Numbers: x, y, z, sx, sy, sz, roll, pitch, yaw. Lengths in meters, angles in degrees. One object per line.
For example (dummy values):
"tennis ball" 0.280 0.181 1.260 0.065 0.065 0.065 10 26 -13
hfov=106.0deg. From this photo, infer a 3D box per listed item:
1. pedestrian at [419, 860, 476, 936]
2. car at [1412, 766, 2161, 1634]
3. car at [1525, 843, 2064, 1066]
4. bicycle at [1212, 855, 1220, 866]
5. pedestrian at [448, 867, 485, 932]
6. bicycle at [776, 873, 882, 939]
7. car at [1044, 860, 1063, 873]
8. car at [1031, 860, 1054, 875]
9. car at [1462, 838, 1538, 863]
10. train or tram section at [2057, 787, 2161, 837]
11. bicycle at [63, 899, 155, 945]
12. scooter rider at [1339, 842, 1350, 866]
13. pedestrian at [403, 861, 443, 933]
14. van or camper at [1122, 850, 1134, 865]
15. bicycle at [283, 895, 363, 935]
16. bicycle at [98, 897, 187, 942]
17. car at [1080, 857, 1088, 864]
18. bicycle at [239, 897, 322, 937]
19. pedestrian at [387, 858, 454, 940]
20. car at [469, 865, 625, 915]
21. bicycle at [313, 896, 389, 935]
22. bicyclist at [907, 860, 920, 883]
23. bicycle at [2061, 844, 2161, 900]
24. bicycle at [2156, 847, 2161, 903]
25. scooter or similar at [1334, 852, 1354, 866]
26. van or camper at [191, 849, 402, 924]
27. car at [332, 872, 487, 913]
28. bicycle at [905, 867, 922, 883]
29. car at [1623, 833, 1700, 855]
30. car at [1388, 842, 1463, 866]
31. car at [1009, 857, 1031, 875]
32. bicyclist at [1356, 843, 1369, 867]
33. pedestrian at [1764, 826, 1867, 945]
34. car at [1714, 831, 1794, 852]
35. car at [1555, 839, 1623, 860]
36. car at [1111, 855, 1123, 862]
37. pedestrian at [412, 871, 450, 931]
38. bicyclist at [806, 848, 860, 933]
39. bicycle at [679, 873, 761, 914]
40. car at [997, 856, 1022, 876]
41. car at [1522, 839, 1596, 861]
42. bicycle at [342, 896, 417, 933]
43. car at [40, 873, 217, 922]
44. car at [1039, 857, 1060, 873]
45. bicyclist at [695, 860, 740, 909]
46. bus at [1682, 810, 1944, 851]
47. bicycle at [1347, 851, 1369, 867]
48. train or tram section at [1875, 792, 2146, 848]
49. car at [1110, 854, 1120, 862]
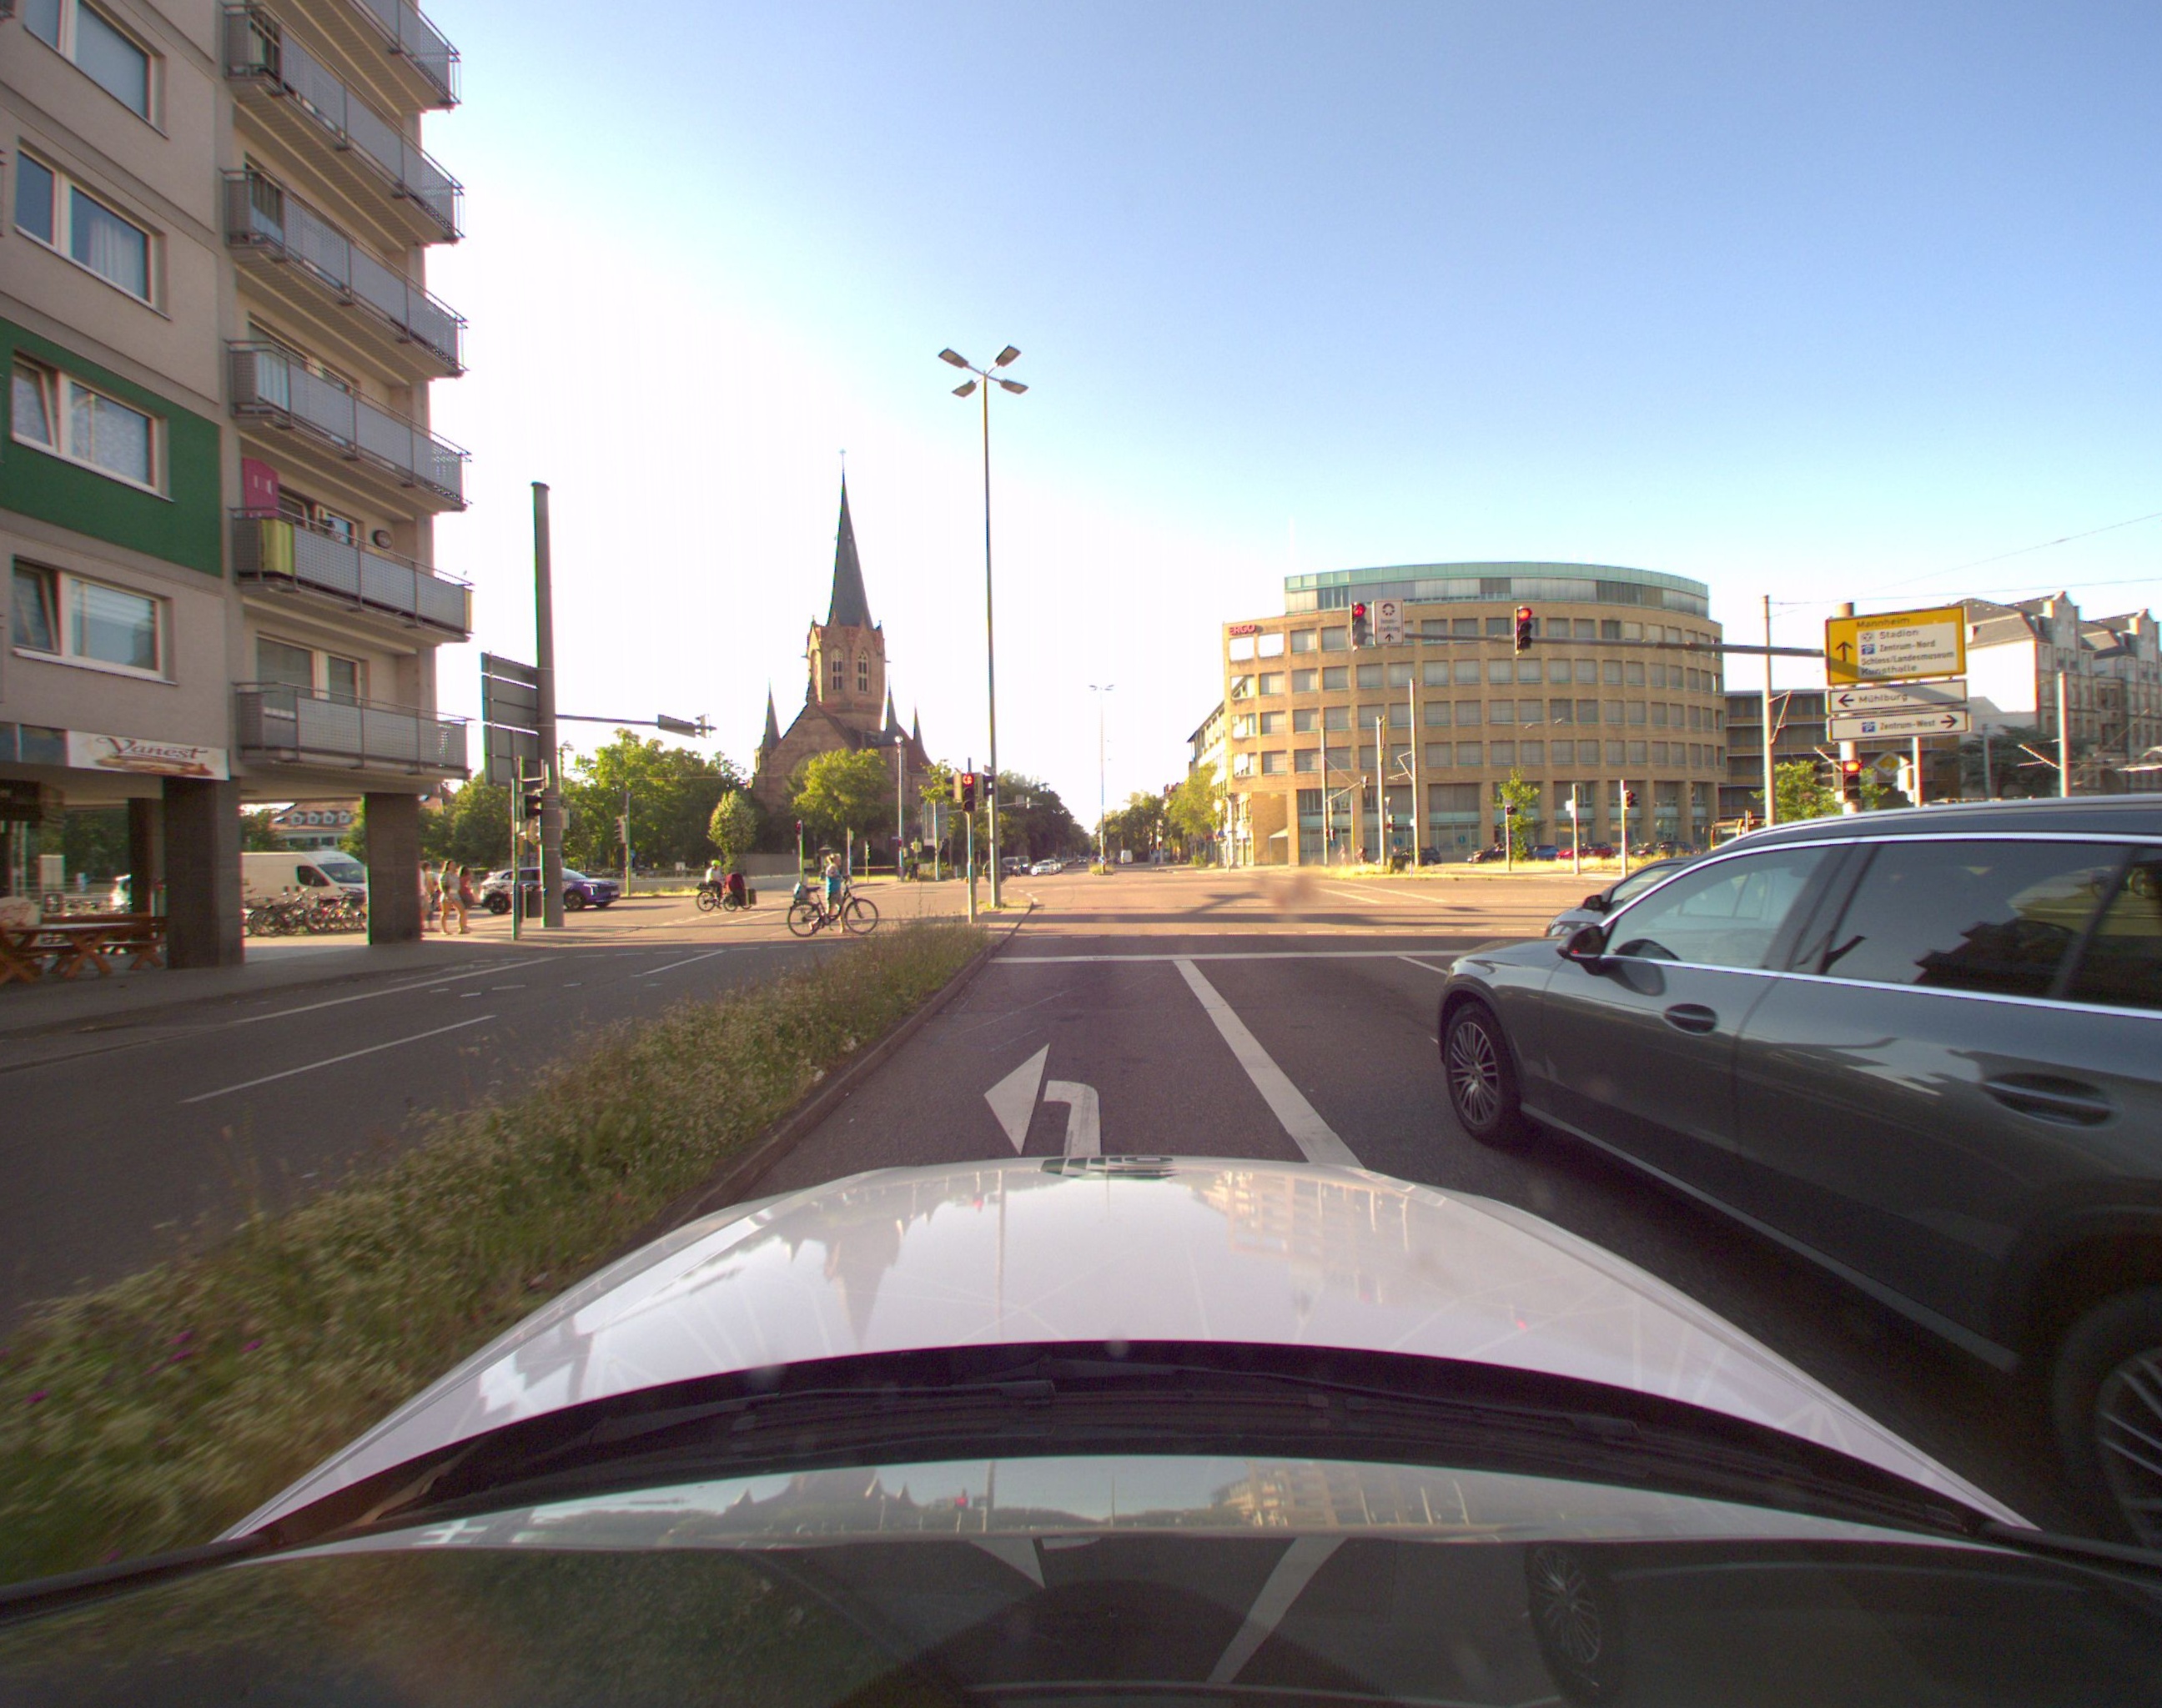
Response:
"pedestrian" -14.717 1.005 18.931 0.749 1.709 0.676 -2 0 9
"car" 2.904 0.623 2.685 1.778 1.632 4.478 -2 0 0
"car" 5.650 0.654 7.141 1.579 1.446 3.648 0 0 1
"bicycle" 15.105 0.696 91.186 0.769 1.195 2.471 -2 0 9
"pedestrian" -15.917 1.163 21.093 0.464 1.642 0.579 -2 0 21
"bicycle" -4.919 1.011 15.986 1.822 1.188 0.734 -2 0 -1
"car" -2.920 1.313 87.709 1.773 1.236 4.001 -2 0 1
"car" -3.472 1.228 73.615 1.773 1.236 4.001 -2 0 1
"car" 28.706 -0.234 55.866 4.212 1.614 2.001 -2 0 2
"train or tram section" 78.584 -3.101 58.453 19.945 3.177 3.678 -2 0 -18
"bicycle" -25.745 1.778 21.618 0.497 1.036 1.932 -2 0 -13
"scooter rider" 20.189 0.025 62.377 0.676 1.814 0.476 -2 0 7
"pedestrian" -16.557 1.081 20.497 0.550 1.769 0.470 -2 0 2
"van or camper" 8.801 0.606 153.263 1.986 2.640 5.353 -2 0 2
"bicycle" -20.106 1.602 21.644 0.494 0.907 1.703 -2 0 0
"bicycle" -24.986 1.726 21.729 0.497 1.036 1.932 -2 0 -13
"car" 0.700 1.481 183.338 1.773 1.449 4.001 -2 0 1
"bicycle" -21.189 1.660 21.611 0.494 0.907 1.703 -2 0 0
"pedestrian" -14.774 0.996 18.222 0.917 1.758 0.676 -2 0 9
"car" -19.285 1.278 29.535 4.386 1.573 1.837 -2 0 1
"bicycle" -19.481 1.620 21.779 0.494 0.907 1.703 -2 0 0
"bicyclist" -12.667 1.294 61.603 0.644 1.694 0.774 -2 0 -35
"bicycle" 22.817 0.382 17.726 2.079 1.116 0.742 -2 0 -1
"bicycle" 22.887 0.381 16.175 2.079 1.116 0.742 -2 0 -1
"scooter or similar" 20.149 0.387 62.383 1.393 1.001 0.476 -2 0 7
"van or camper" -27.928 1.130 29.124 5.401 2.416 2.166 -2 0 1
"car" -26.765 1.500 32.565 4.470 1.409 1.960 -2 0 -1
"bicycle" -12.708 1.578 61.667 0.650 1.139 1.661 -2 0 -35
"car" 40.165 -0.677 56.417 3.976 1.346 1.999 -2 0 -2
"car" 24.902 0.011 58.954 4.635 1.598 1.998 -2 0 -2
"car" -6.053 1.143 81.574 1.773 1.704 4.001 -2 0 1
"bicyclist" 21.256 0.070 61.443 0.786 1.736 0.476 -2 0 7
"pedestrian" 11.326 0.482 12.589 0.940 1.768 0.670 -2 0 5
"car" 46.720 -0.868 56.593 3.976 1.346 1.999 -2 0 -2
"car" 34.974 -0.314 56.085 3.595 1.342 1.722 -2 0 1
"car" 7.874 0.969 178.503 1.990 1.592 3.994 -2 0 -4
"pedestrian" -16.968 1.211 21.265 0.466 1.530 0.576 -2 0 0
"bicyclist" -5.003 0.716 16.477 0.780 1.660 0.900 -2 0 -2
"bicycle" -11.378 1.225 25.734 2.037 1.168 1.161 -2 0 -1
"car" -6.489 1.066 74.176 1.773 1.647 4.001 -2 0 1
"car" 34.813 -0.288 59.387 4.218 1.502 1.998 -2 0 -3
"bicycle" -18.701 1.599 21.753 0.494 0.840 1.703 -2 0 0
"car" -37.585 1.684 32.242 4.439 1.672 2.121 -2 0 0
"car" -3.088 1.095 80.188 1.773 1.464 4.001 -2 0 1
"bicyclist" -11.467 0.937 25.725 0.877 1.487 1.161 -2 0 -1
"bus" 53.880 -1.737 60.008 18.131 2.436 2.419 -2 0 -4
"bicycle" 20.907 0.353 61.536 1.511 1.172 0.476 -2 0 7
"train or tram section" 61.006 -2.220 53.489 17.110 3.177 3.686 -2 0 -11
"car" 7.659 0.927 184.175 1.989 1.592 3.996 -2 0 -2
